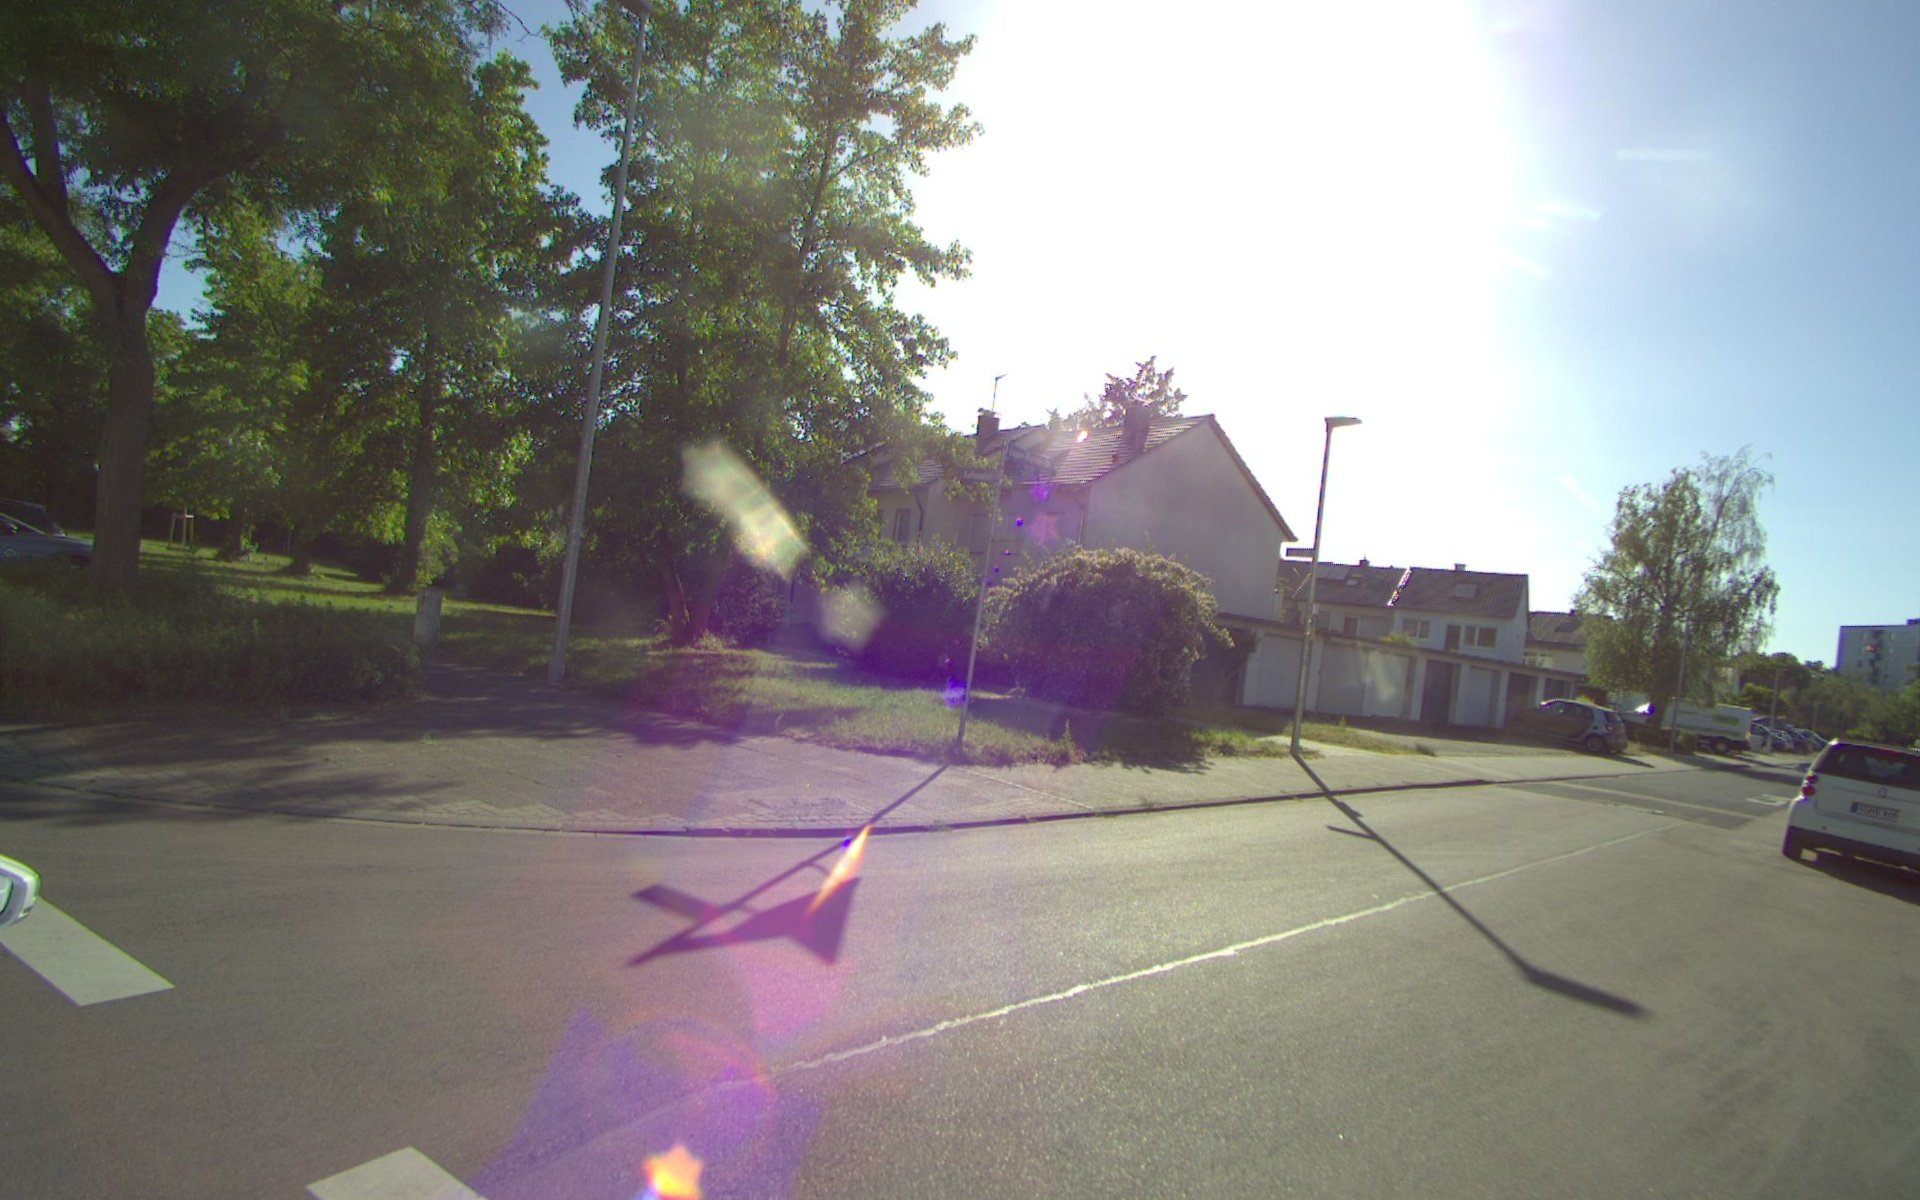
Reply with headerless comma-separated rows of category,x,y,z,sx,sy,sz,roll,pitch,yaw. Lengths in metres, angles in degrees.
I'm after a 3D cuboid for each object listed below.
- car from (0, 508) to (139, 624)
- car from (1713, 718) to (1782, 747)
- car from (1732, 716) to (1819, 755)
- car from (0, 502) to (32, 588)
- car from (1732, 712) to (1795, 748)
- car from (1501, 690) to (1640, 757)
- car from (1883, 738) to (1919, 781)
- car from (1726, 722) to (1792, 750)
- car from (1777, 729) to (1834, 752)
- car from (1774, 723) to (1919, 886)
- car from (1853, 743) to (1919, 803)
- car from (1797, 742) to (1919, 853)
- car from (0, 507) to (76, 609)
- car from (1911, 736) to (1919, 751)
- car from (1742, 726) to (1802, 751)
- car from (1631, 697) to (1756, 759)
car,-15.193,-0.706,14.457,1.978,1.567,4.790,6,-2,32
car,60.843,10.218,77.792,3.936,1.570,1.996,6,-1,34
car,70.266,11.641,86.786,5.378,2.484,2.782,6,-1,34
car,-19.387,-1.225,17.435,1.967,1.536,4.449,6,0,32
car,78.053,12.598,97.833,4.342,2.805,1.995,6,-1,34
car,20.848,4.202,34.465,1.659,1.507,3.554,8,2,-36
car,40.193,6.748,42.377,1.831,1.578,4.225,6,-2,43
car,64.770,11.009,81.629,3.936,1.570,1.996,6,-1,34
car,83.804,13.928,99.752,3.936,1.570,1.996,6,-1,34
car,11.542,2.530,12.636,1.677,1.582,2.950,10,1,43
car,27.527,5.068,29.484,1.831,1.427,4.225,6,-2,43
car,15.594,3.284,16.970,1.942,1.427,4.477,6,-2,43
car,-17.162,-0.922,15.887,1.710,1.590,4.431,6,-2,35
car,105.859,15.821,110.343,1.829,1.578,4.229,6,-2,40
car,73.862,12.608,91.528,3.936,1.570,1.996,6,-1,34
car,38.183,6.616,52.507,4.995,2.428,1.995,6,-1,36
